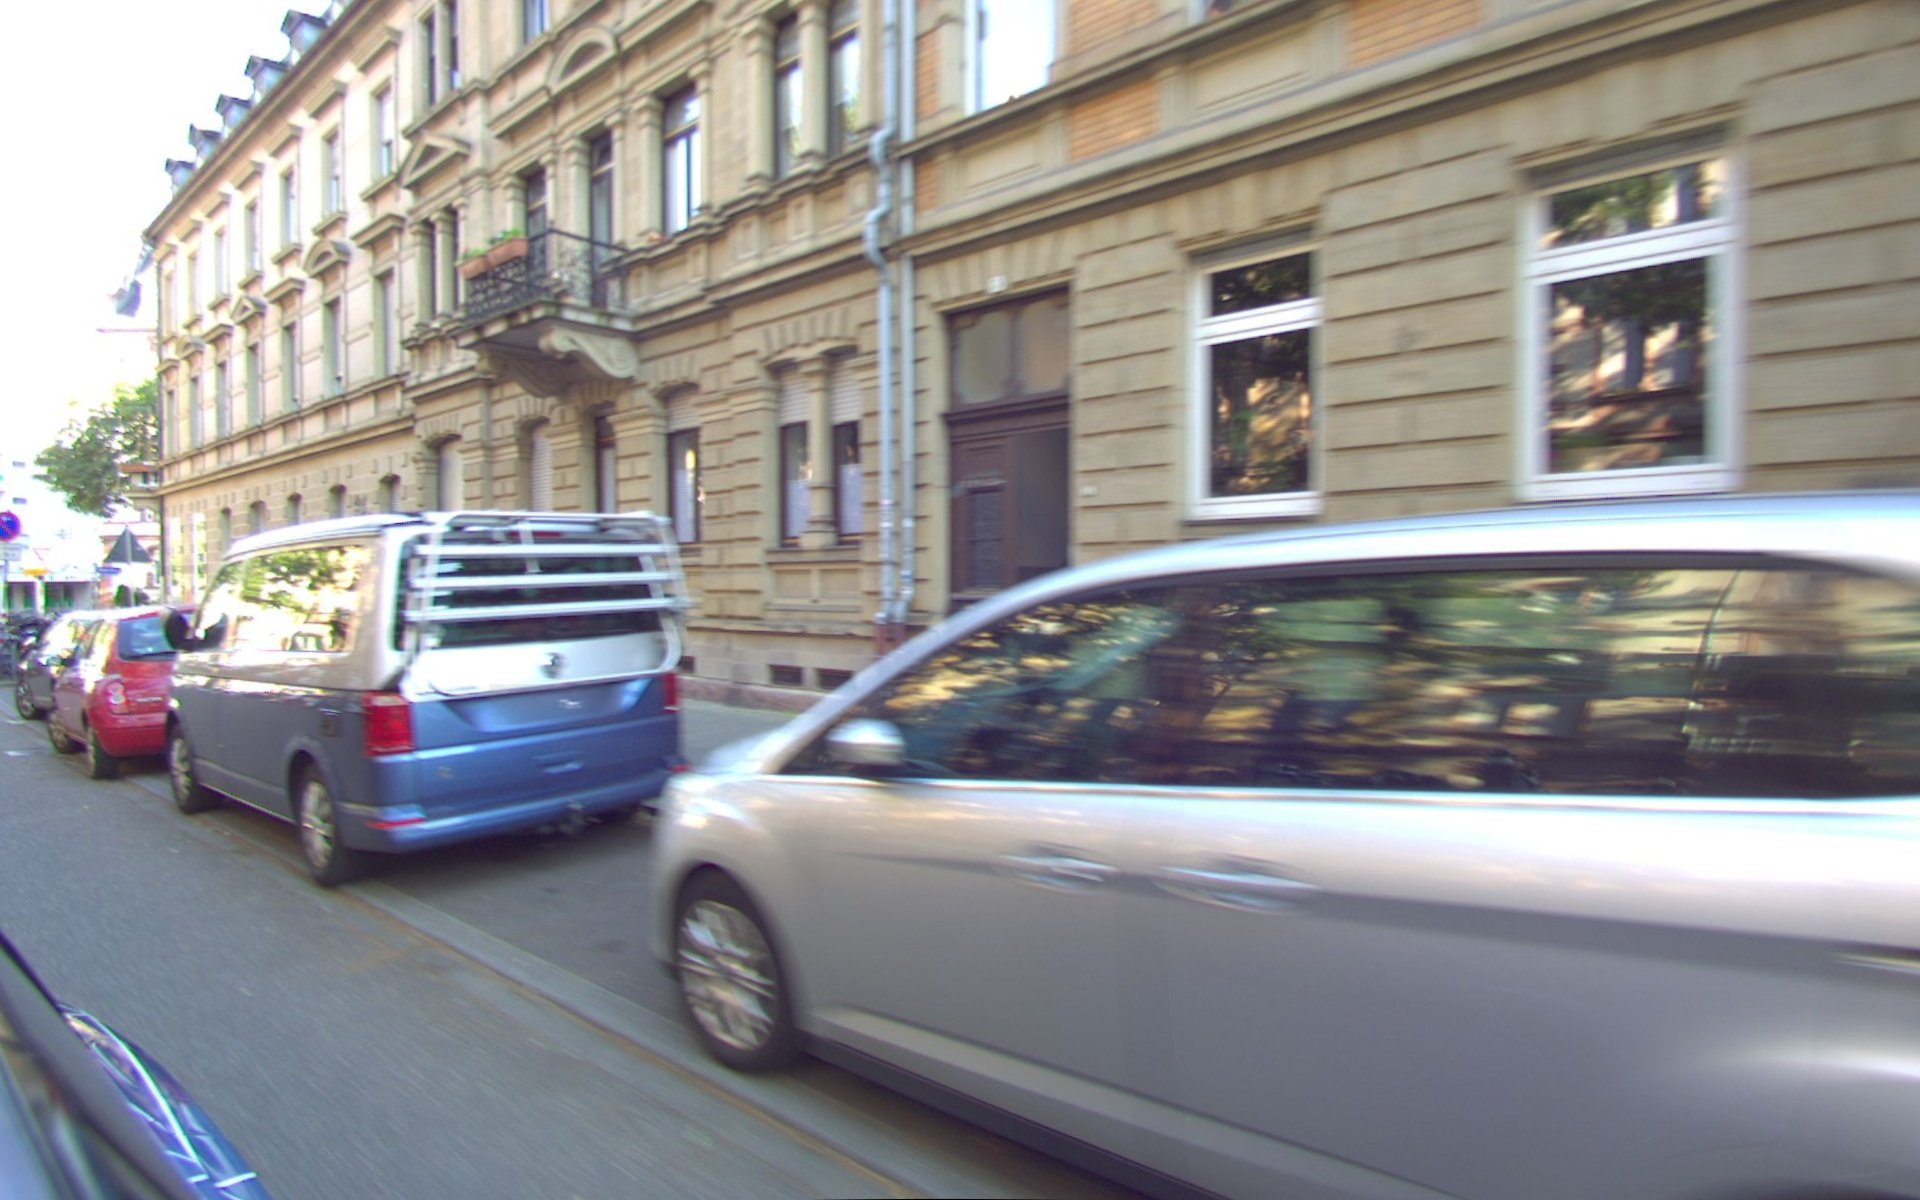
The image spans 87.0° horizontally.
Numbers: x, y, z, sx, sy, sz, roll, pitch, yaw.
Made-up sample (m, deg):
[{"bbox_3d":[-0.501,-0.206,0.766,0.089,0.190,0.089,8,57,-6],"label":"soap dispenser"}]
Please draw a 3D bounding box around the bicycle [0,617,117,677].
[{"bbox_3d":[-18.462,0.933,20.535,0.587,1.106,2.016,-1,1,43],"label":"bicycle"}]

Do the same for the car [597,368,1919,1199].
[{"bbox_3d":[0.952,0.533,2.638,4.156,1.670,1.748,-1,1,41],"label":"car"}]

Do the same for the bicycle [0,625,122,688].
[{"bbox_3d":[-18.008,1.109,20.100,0.587,1.106,2.016,-1,1,43],"label":"bicycle"}]

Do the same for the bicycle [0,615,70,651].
[{"bbox_3d":[-30.671,1.089,33.320,2.012,1.106,0.500,-2,1,-40],"label":"bicycle"}]

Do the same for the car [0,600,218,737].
[{"bbox_3d":[-11.287,0.798,13.336,3.823,1.502,1.620,-1,1,41],"label":"car"}]

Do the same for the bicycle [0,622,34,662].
[{"bbox_3d":[-27.395,1.207,28.417,0.499,1.106,2.016,-1,1,43],"label":"bicycle"}]

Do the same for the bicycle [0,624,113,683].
[{"bbox_3d":[-18.901,1.092,20.956,0.499,1.106,2.016,-1,1,43],"label":"bicycle"}]

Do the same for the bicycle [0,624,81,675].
[{"bbox_3d":[-21.919,1.164,23.662,0.499,1.106,2.016,-1,1,43],"label":"bicycle"}]

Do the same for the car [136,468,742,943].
[{"bbox_3d":[-3.695,0.455,6.699,4.742,2.072,1.922,-1,1,41],"label":"car"}]

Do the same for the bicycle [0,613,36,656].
[{"bbox_3d":[-29.680,1.080,30.969,0.499,1.288,2.016,-1,1,43],"label":"bicycle"}]

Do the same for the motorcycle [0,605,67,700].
[{"bbox_3d":[-15.913,0.861,17.305,2.488,1.502,0.616,-1,1,41],"label":"motorcycle"}]

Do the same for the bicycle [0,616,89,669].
[{"bbox_3d":[-21.110,0.969,22.936,0.499,1.106,2.016,-1,1,43],"label":"bicycle"}]

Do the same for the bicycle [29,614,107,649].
[{"bbox_3d":[-31.655,1.102,35.933,2.011,1.106,0.500,-2,1,-37],"label":"bicycle"}]

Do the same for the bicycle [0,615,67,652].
[{"bbox_3d":[-29.949,1.080,32.394,2.013,1.106,0.500,-2,1,-40],"label":"bicycle"}]

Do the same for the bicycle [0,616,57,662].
[{"bbox_3d":[-24.417,1.011,25.816,0.499,1.106,2.016,-1,1,43],"label":"bicycle"}]

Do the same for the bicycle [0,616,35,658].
[{"bbox_3d":[-26.439,1.037,27.397,0.499,1.106,2.016,-1,1,43],"label":"bicycle"}]

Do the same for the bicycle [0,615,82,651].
[{"bbox_3d":[-31.313,1.098,34.513,2.013,1.106,0.500,-2,1,-40],"label":"bicycle"}]

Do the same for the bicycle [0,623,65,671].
[{"bbox_3d":[-23.271,1.168,24.731,0.499,1.106,2.016,-1,1,43],"label":"bicycle"}]

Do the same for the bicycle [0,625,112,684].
[{"bbox_3d":[-19.308,1.137,21.417,0.587,1.106,2.016,-1,1,43],"label":"bicycle"}]

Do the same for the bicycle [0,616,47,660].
[{"bbox_3d":[-25.494,1.025,26.701,0.499,1.106,2.016,-1,1,43],"label":"bicycle"}]

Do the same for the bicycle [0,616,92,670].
[{"bbox_3d":[-20.734,0.962,22.561,0.499,1.106,2.016,-1,1,43],"label":"bicycle"}]

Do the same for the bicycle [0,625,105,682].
[{"bbox_3d":[-19.823,1.139,21.850,0.499,1.106,2.016,-1,1,43],"label":"bicycle"}]

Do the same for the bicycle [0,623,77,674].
[{"bbox_3d":[-22.313,1.155,24.003,0.499,1.106,2.016,-1,1,43],"label":"bicycle"}]

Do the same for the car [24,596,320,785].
[{"bbox_3d":[-8.003,0.759,10.158,3.823,1.502,1.620,-1,1,41],"label":"car"}]

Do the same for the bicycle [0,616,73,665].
[{"bbox_3d":[-22.757,0.990,24.382,0.499,1.106,2.016,-1,1,43],"label":"bicycle"}]
